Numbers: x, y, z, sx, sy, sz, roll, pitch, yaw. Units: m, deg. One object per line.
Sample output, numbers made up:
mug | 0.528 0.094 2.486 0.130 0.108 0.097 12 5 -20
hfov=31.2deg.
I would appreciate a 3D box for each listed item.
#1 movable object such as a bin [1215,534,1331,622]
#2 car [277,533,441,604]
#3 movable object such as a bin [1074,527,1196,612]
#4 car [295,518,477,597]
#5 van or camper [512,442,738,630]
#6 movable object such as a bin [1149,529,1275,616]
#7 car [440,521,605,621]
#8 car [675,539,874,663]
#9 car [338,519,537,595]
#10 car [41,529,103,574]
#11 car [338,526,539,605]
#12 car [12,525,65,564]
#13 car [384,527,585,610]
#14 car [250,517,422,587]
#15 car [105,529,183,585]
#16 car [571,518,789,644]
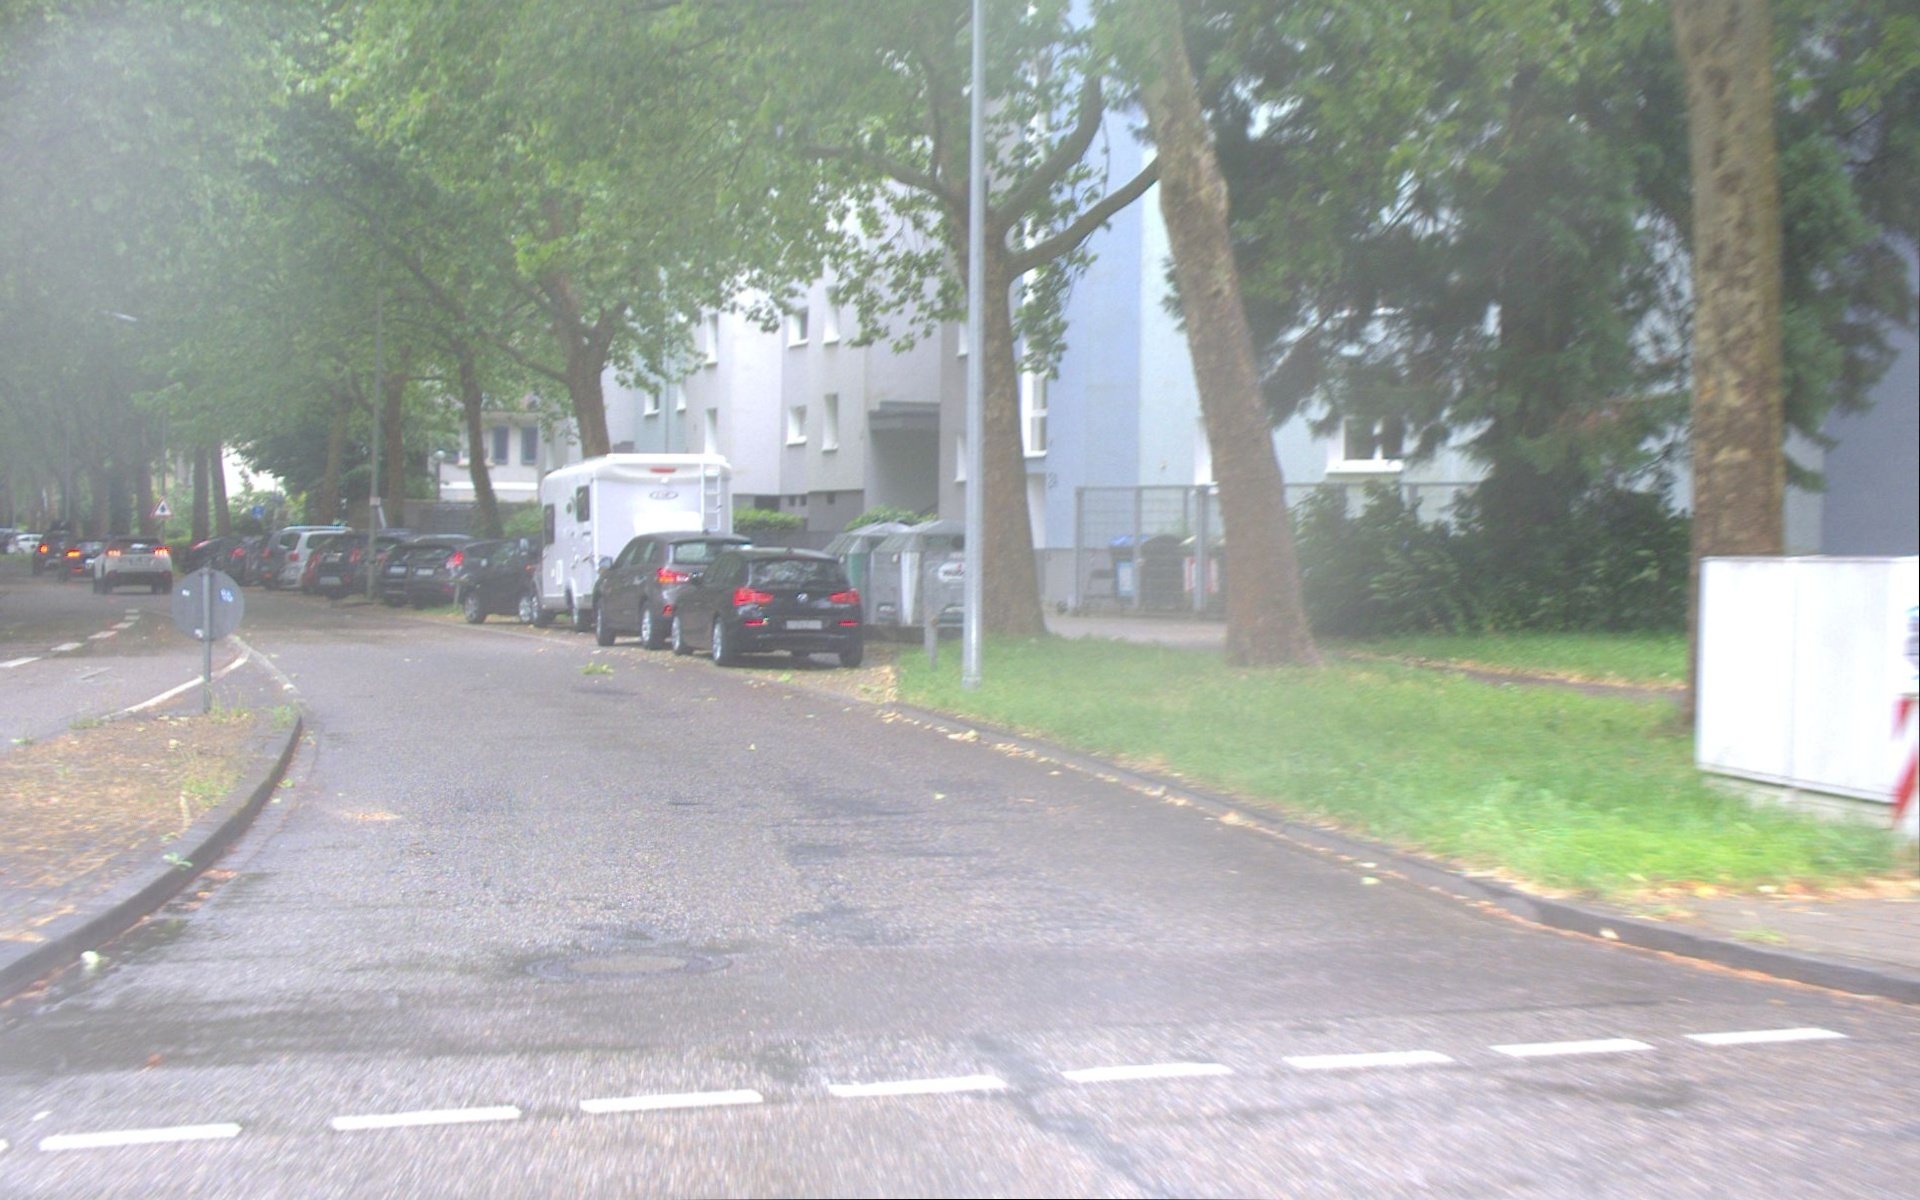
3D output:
movable object such as a bin | 5.263 -0.375 57.881 1.317 1.427 1.370 1 1 -36
car | -15.758 -0.823 90.043 3.985 1.721 1.802 2 1 -17
movable object such as a bin | 3.074 -0.540 60.690 1.213 1.427 1.863 1 1 -36
car | -13.421 -1.021 80.484 1.836 1.691 3.858 3 4 44
van or camper | -5.498 -1.033 55.445 2.318 2.798 6.866 1 1 -16
movable object such as a bin | 4.335 -0.472 59.244 1.213 1.427 1.863 1 1 -36
car | -7.748 -0.517 60.709 1.687 1.647 2.946 1 1 -34
car | -2.345 -0.024 42.542 1.548 1.385 4.151 2 1 -16
car | -11.826 -0.974 77.902 2.034 1.596 3.989 3 1 45
car | -29.000 -1.594 112.268 1.705 1.406 3.646 -1 2 -18
car | -11.192 -0.731 73.889 1.801 1.596 3.990 3 1 42
car | -34.729 -2.102 129.577 1.705 1.406 3.646 -1 2 -18
car | -9.705 -0.632 70.292 1.801 1.596 3.759 3 1 42
car | -16.952 -1.302 93.343 4.336 1.756 1.819 2 1 -18
car | -21.680 -1.162 91.258 1.705 1.406 3.646 -1 2 -18
car | -3.935 -0.245 47.679 1.915 1.615 4.455 2 -1 -19
